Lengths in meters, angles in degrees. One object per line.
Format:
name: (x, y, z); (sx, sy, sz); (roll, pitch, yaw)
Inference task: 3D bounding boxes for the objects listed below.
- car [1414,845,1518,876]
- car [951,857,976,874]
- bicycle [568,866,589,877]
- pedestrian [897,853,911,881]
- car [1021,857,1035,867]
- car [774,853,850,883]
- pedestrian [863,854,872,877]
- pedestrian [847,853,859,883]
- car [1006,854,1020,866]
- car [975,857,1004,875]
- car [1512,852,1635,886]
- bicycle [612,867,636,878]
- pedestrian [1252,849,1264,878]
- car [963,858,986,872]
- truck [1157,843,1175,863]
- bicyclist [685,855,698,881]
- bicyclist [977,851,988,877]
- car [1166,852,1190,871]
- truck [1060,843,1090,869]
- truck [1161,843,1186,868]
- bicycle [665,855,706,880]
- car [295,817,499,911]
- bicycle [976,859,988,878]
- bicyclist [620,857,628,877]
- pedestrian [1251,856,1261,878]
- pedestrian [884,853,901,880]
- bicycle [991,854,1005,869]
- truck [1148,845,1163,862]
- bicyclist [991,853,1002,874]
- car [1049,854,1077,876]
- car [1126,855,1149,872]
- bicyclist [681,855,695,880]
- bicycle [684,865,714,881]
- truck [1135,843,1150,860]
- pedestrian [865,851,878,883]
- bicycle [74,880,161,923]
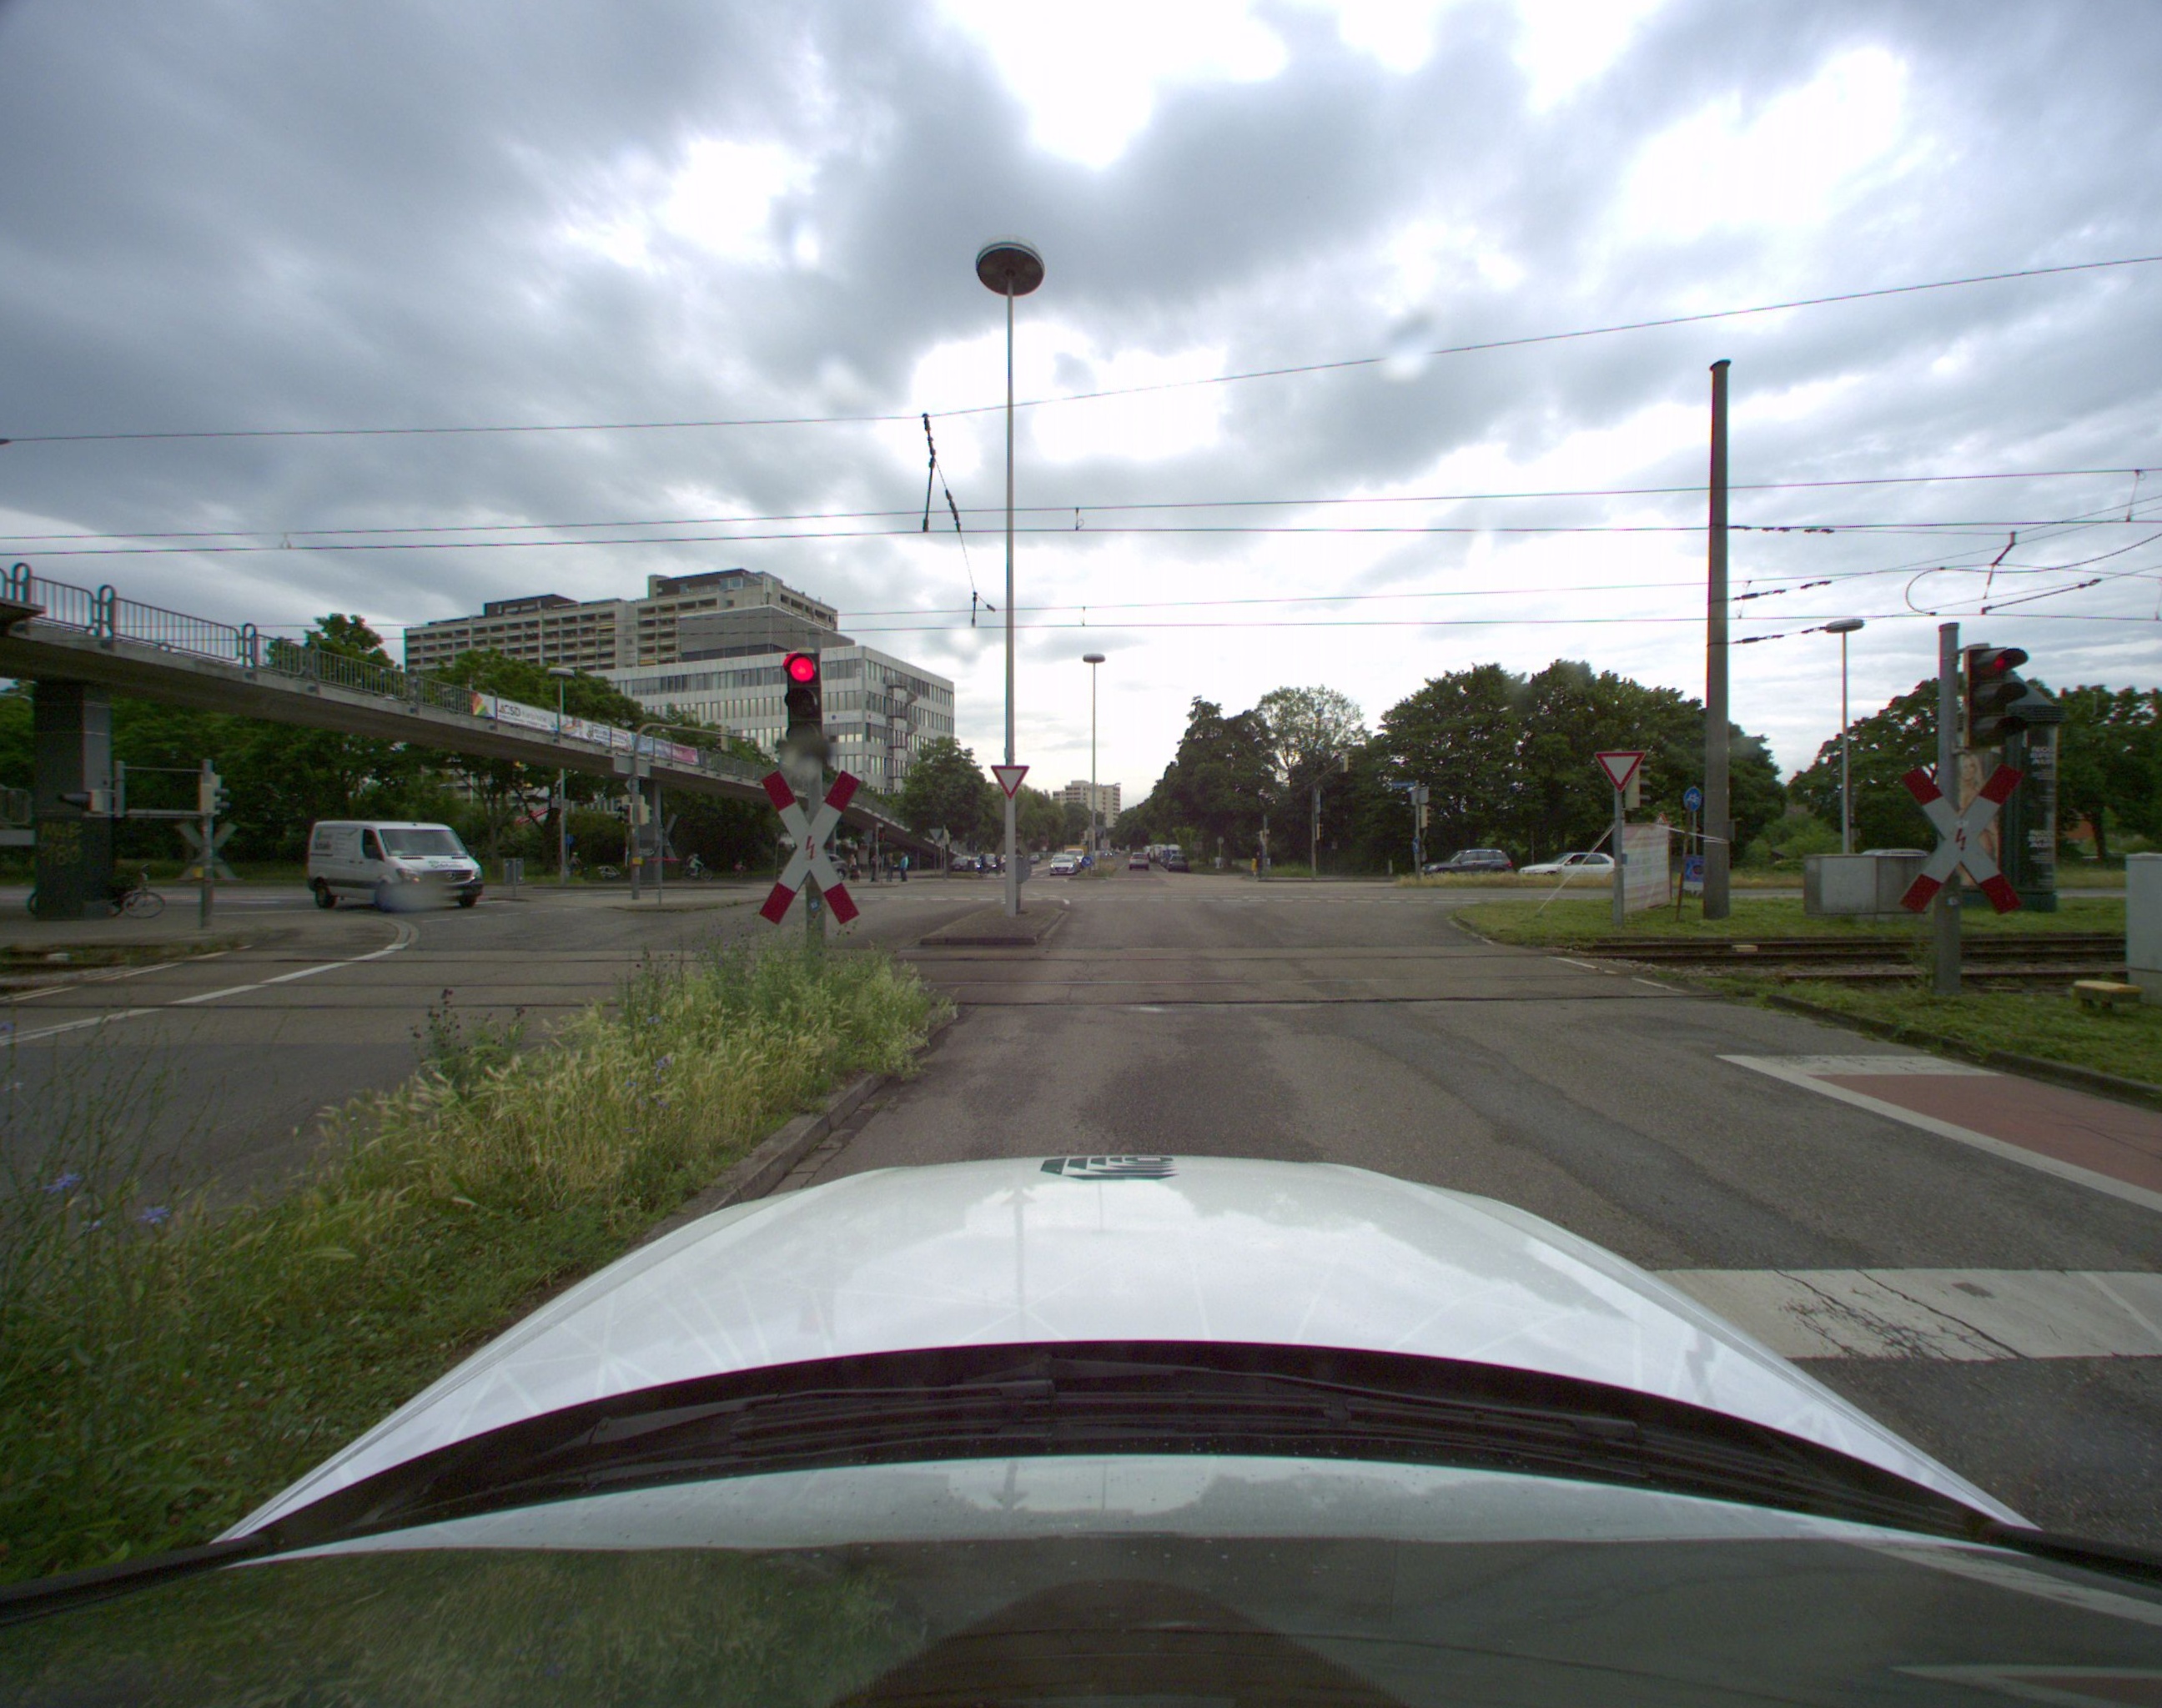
car: (19.544, 0.331, 41.512); (4.447, 1.504, 1.847); (0, 0, 2)
car: (-11.207, 1.045, 78.087); (1.665, 1.552, 3.894); (0, 0, 3)
bicycle: (-32.507, 1.139, 52.645); (1.145, 0.668, 0.265); (0, 0, -6)
pedestrian: (-10.063, 0.743, 46.199); (0.685, 1.605, 0.487); (0, 0, -3)
car: (-8.262, 1.250, 126.503); (1.665, 1.552, 4.003); (0, 0, 3)
car: (-16.707, 0.828, 50.642); (4.229, 1.734, 1.610); (0, 0, -40)
pedestrian: (-14.962, 0.813, 57.130); (0.580, 1.579, 0.777); (0, 0, -16)
pedestrian: (-12.900, 0.802, 46.136); (0.619, 1.691, 0.403); (0, 0, -12)
car: (-9.024, 0.793, 108.204); (1.439, 1.552, 3.666); (0, 0, 2)
car: (-8.099, 1.020, 72.153); (1.663, 1.552, 4.008); (0, 0, 7)
car: (20.494, 0.624, 33.979); (4.120, 1.357, 1.648); (0, 0, 2)
bicycle: (-29.506, 1.179, 52.598); (1.298, 0.692, 0.288); (0, 0, -21)
pedestrian: (10.701, 0.582, 49.162); (0.654, 1.750, 0.459); (0, 0, 1)
car: (-10.862, 1.105, 83.577); (1.665, 1.387, 3.898); (0, 0, 3)
truck: (12.497, -0.171, 119.986); (1.988, 2.838, 5.727); (0, 0, -2)
bicyclist: (-24.994, 0.894, 52.260); (0.563, 1.644, 0.532); (0, -1, 2)
bicyclist: (-6.770, 0.651, 55.880); (0.642, 1.768, 0.647); (0, 0, 1)
car: (8.795, 0.623, 73.889); (1.777, 1.662, 4.002); (0, 0, 2)
truck: (-0.476, 0.151, 72.171); (2.146, 2.199, 5.846); (0, 0, 4)
truck: (10.274, 0.210, 90.667); (2.166, 2.656, 6.249); (-1, -1, 2)
bicycle: (-25.966, 0.883, 53.460); (2.376, 1.625, 0.522); (0, -1, -37)
car: (-18.424, 0.241, 21.925); (5.143, 2.292, 2.154); (-1, 1, 25)
bicycle: (-6.789, 0.956, 55.887); (0.541, 1.267, 2.112); (0, 0, 2)
bicyclist: (-29.497, 0.859, 52.590); (0.384, 1.303, 0.276); (0, 0, -22)
pedestrian: (10.690, 0.779, 49.766); (0.525, 1.342, 0.525); (0, 0, 1)
pedestrian: (-10.708, 0.717, 46.244); (0.917, 1.511, 0.402); (0, 0, -10)
bicycle: (-6.207, 0.550, 61.173); (0.724, 1.101, 2.265); (0, 0, 2)
truck: (12.094, -0.062, 132.077); (1.987, 2.573, 5.377); (0, -1, 0)
bicyclist: (-6.261, 0.706, 60.375); (0.676, 1.594, 0.695); (0, -1, 1)
car: (-1.253, 0.751, 58.093); (1.782, 1.519, 4.327); (0, 0, 2)
car: (5.327, 0.851, 76.720); (2.013, 1.505, 4.002); (0, 0, 2)
bicyclist: (-25.851, 0.883, 53.548); (0.753, 1.625, 0.522); (0, -1, -36)
bicycle: (-24.475, 1.208, 52.258); (0.628, 0.925, 2.524); (0, 0, 2)
truck: (10.788, -0.441, 142.912); (1.988, 3.009, 5.768); (0, -1, -1)
pedestrian: (-11.891, 0.742, 46.218); (0.636, 1.803, 0.800); (0, 0, -7)
bicycle: (-21.710, 1.053, 18.345); (2.017, 0.921, 0.375); (0, 0, 13)
